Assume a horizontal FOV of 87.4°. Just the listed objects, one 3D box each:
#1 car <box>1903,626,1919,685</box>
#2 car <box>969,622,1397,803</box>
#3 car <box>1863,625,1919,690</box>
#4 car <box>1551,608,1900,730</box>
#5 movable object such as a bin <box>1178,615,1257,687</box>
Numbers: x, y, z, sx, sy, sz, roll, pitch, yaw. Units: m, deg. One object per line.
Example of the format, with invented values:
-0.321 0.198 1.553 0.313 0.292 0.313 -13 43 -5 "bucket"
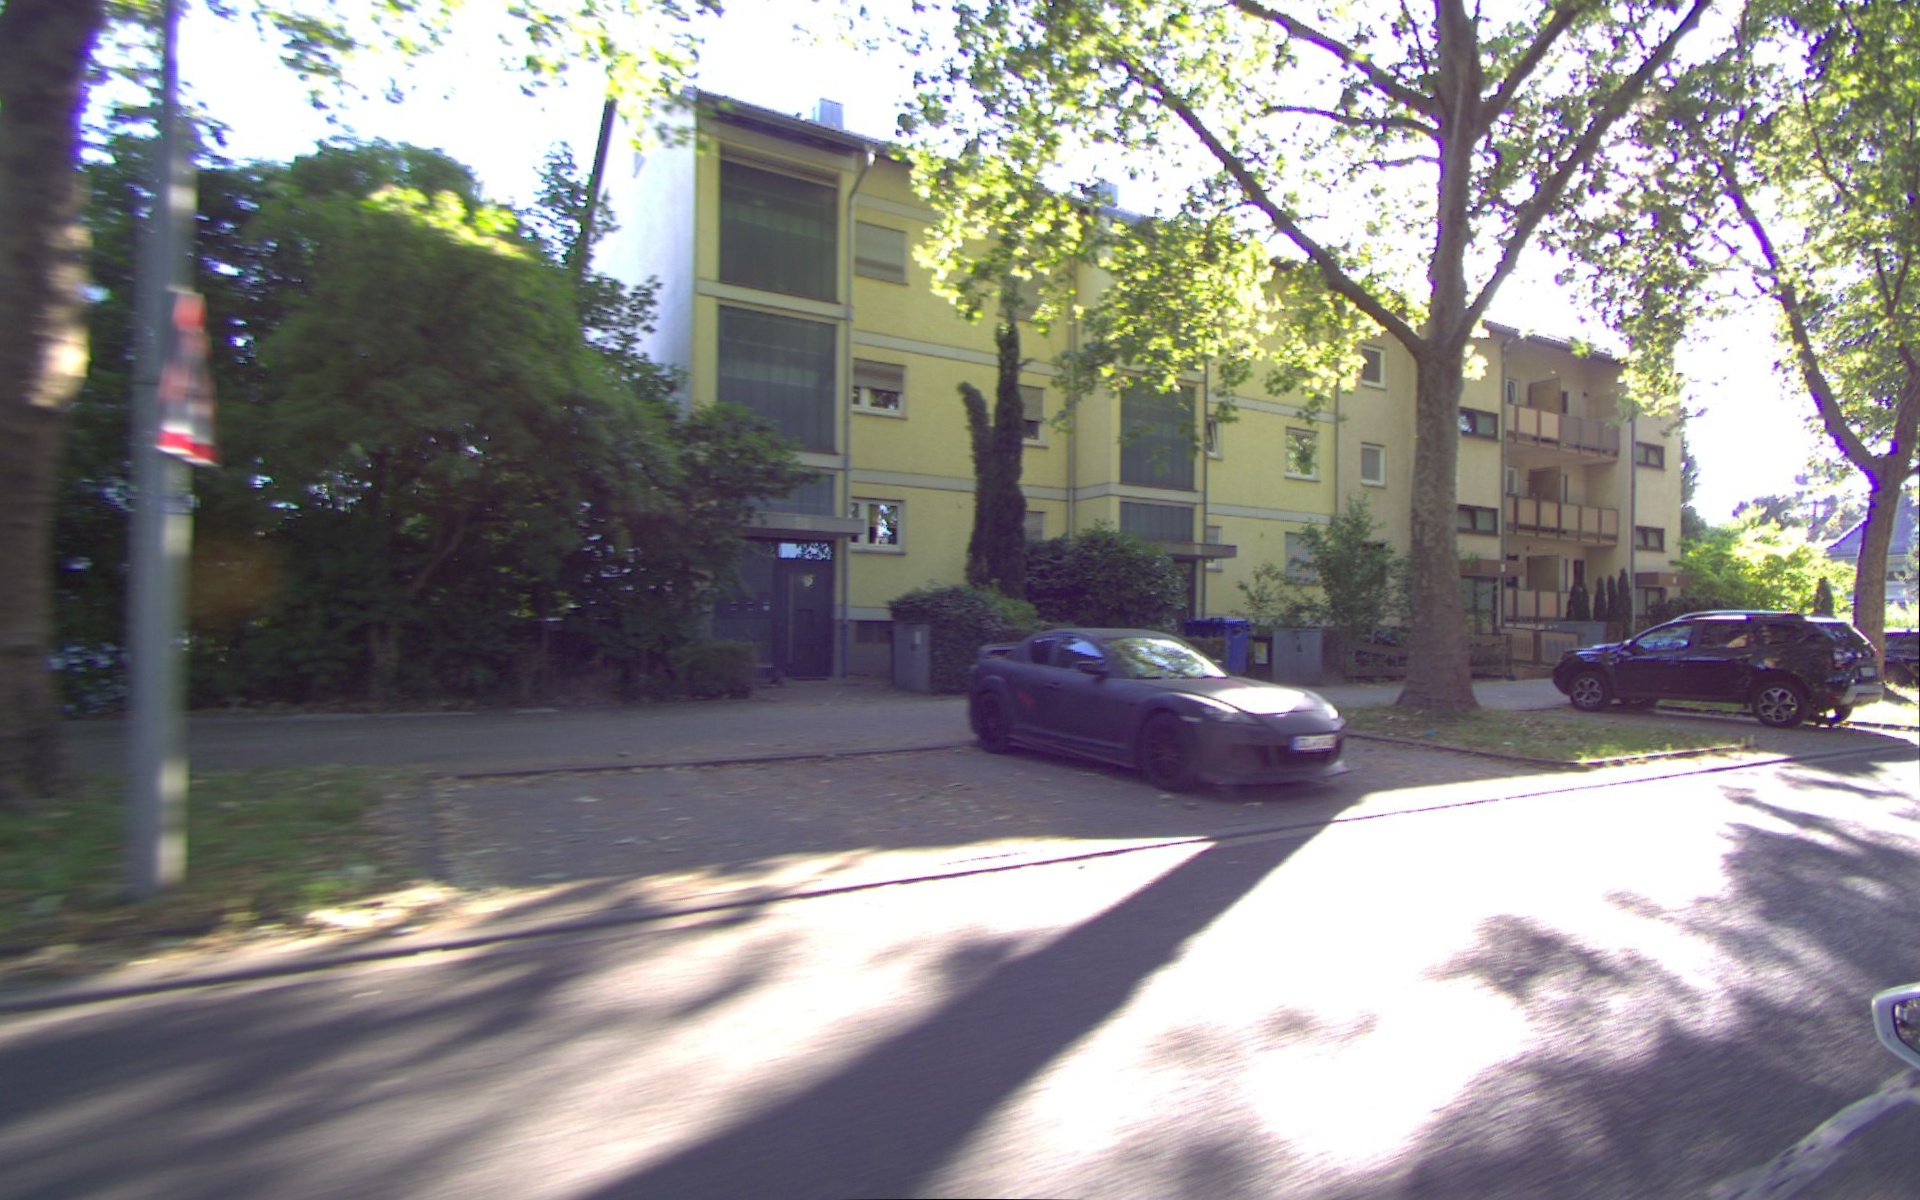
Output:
25.474 1.400 24.027 1.790 1.443 3.962 1 -1 -34 "car"
1.928 0.922 9.958 1.722 1.371 4.218 2 -2 -31 "car"
23.354 1.354 22.773 1.760 1.490 3.967 1 -1 -31 "car"
12.174 0.995 16.294 1.651 1.702 4.224 1 -1 -30 "car"
5.056 0.995 19.772 0.942 1.368 1.180 2 -2 -30 "movable object such as a bin"
